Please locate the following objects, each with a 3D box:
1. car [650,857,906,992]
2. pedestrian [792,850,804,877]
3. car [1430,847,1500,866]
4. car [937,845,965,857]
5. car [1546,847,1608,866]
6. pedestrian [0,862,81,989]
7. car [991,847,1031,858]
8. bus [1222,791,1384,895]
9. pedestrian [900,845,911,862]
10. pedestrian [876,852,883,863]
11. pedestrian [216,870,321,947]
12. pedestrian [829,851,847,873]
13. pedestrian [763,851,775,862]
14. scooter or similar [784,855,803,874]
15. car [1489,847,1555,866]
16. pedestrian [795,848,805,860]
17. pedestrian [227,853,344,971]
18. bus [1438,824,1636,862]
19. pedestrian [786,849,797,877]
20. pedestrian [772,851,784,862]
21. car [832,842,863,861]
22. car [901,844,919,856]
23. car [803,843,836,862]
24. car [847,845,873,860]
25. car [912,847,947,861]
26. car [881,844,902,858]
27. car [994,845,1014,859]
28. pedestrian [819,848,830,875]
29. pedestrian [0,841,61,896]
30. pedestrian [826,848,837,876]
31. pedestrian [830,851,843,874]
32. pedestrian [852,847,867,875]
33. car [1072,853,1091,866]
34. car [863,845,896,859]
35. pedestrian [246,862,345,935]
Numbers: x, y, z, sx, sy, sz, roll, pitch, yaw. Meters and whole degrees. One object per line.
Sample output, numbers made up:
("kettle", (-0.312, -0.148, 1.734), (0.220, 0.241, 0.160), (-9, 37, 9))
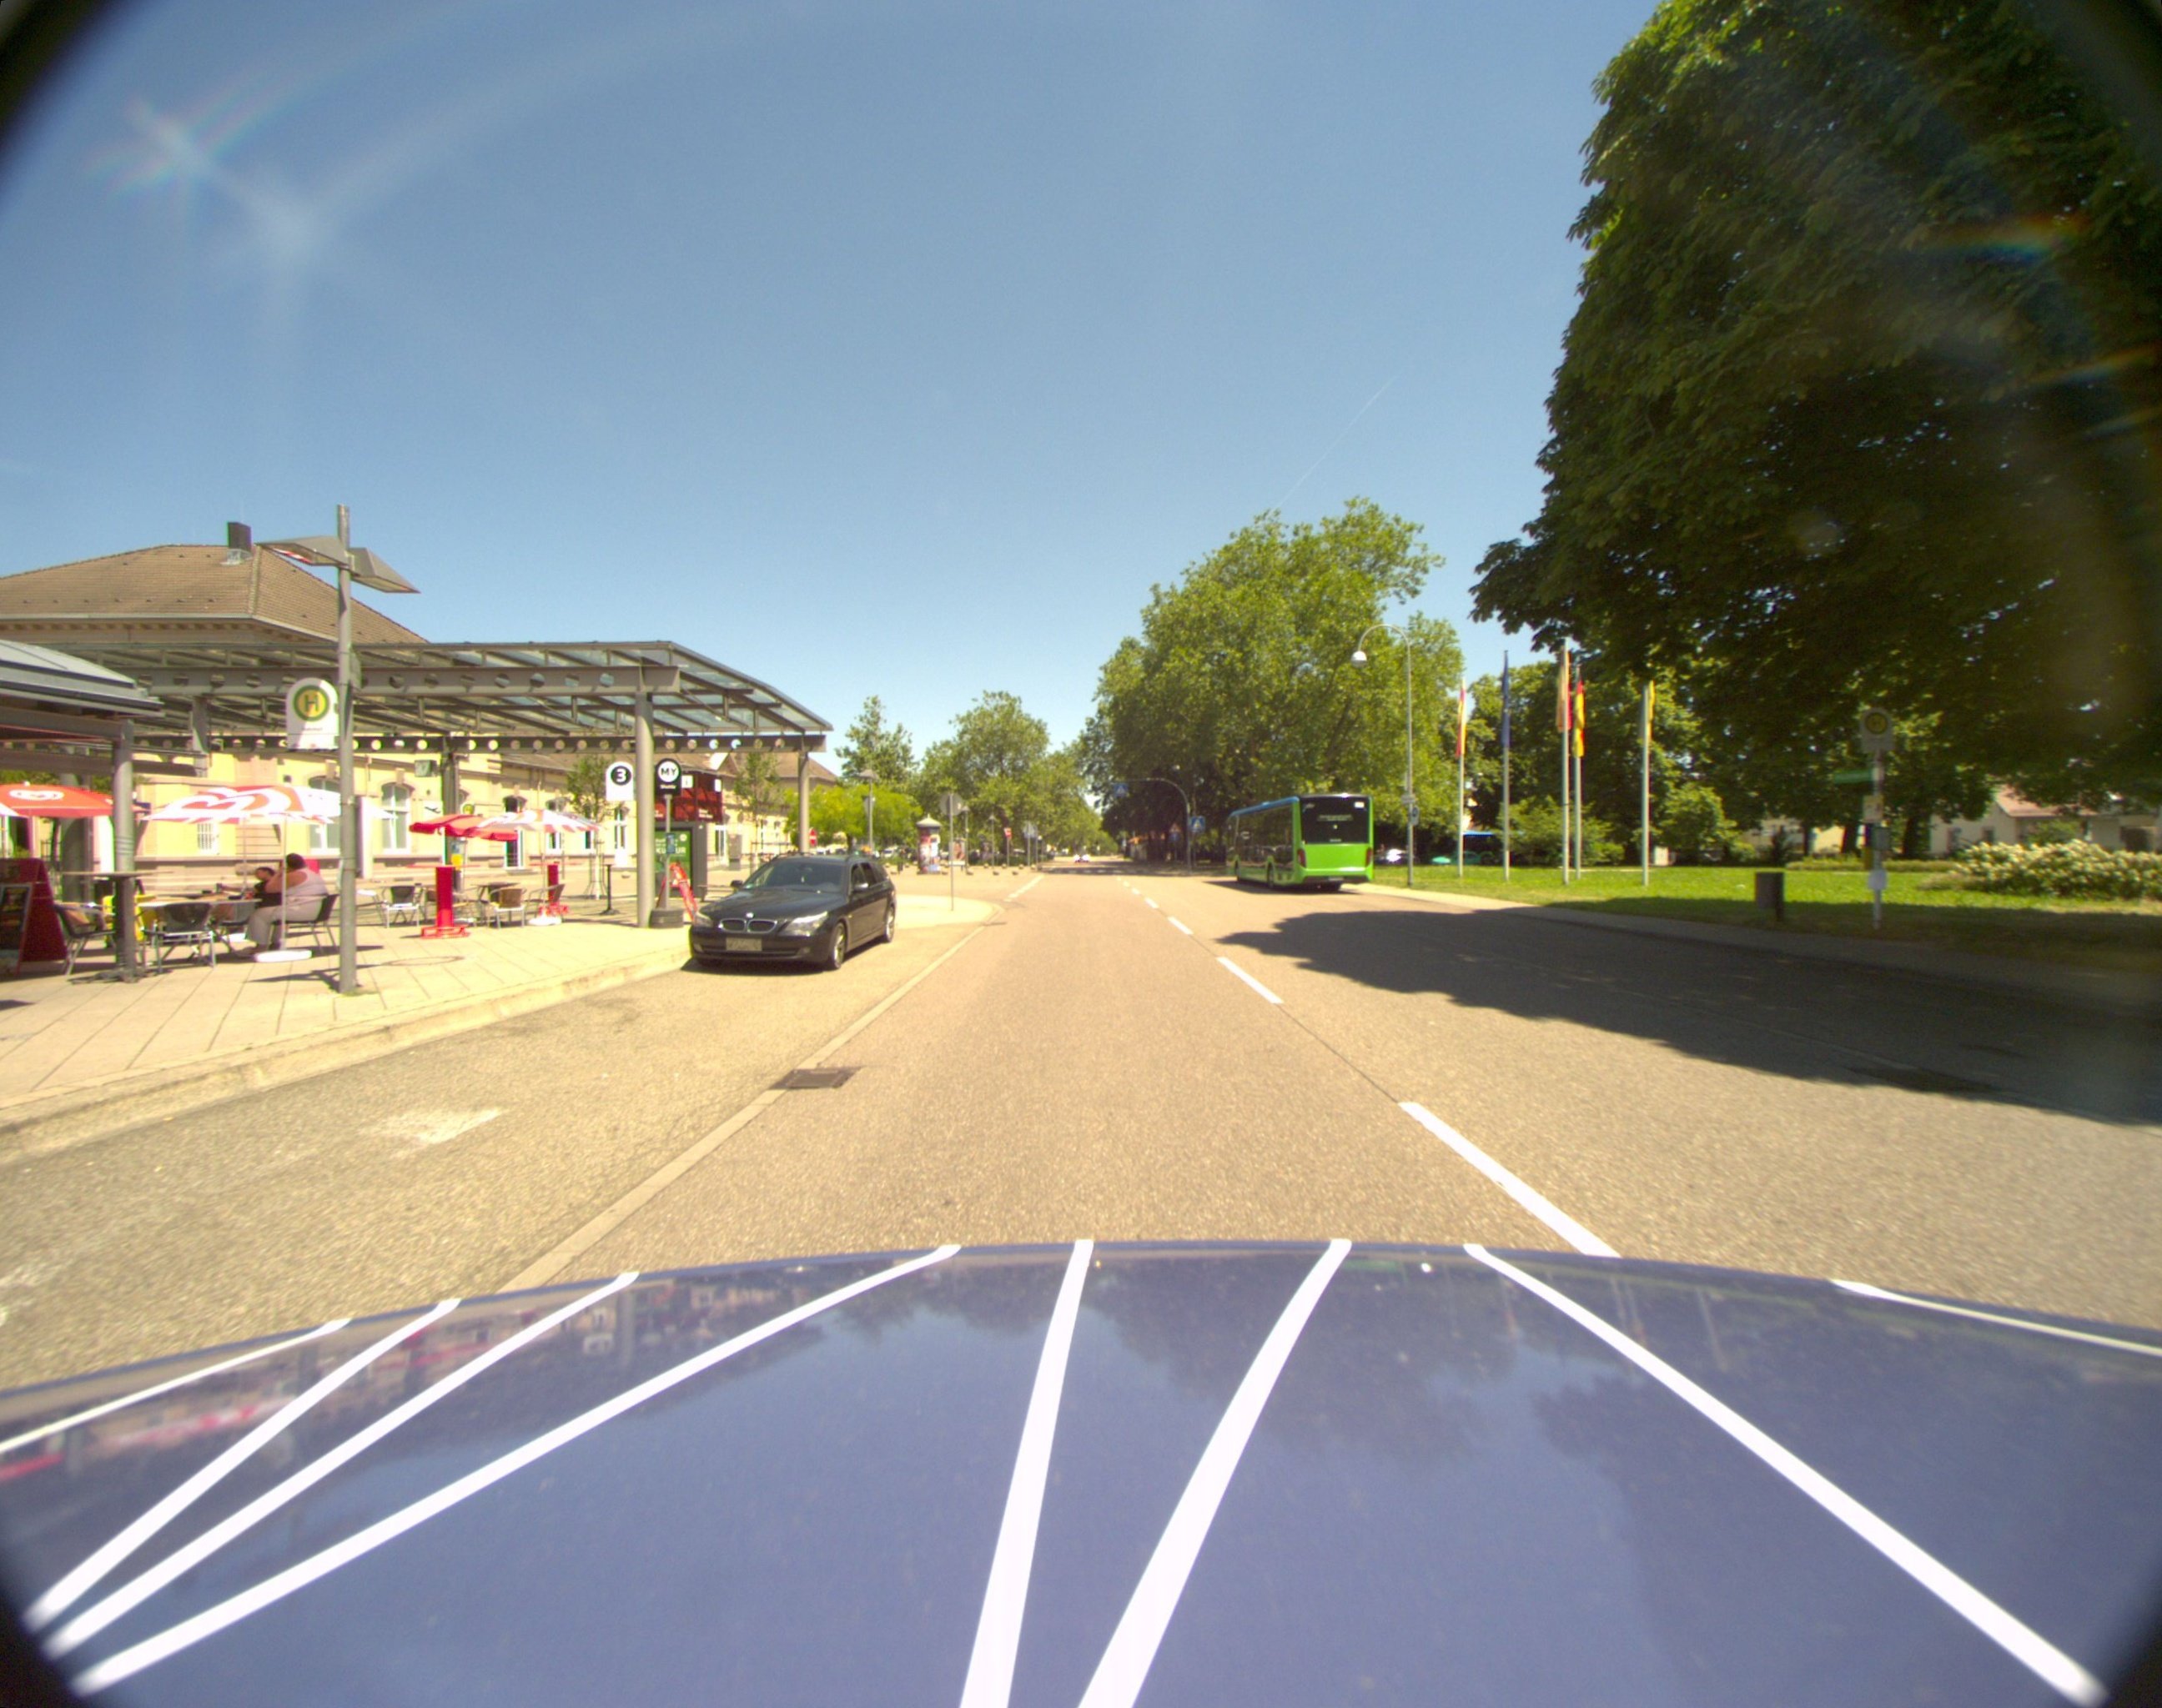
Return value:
("car", (-4.128, 0.845, 11.349), (1.932, 1.452, 4.724), (2, 1, -1))
("pedestrian", (-17.620, 0.609, 47.333), (0.619, 1.675, 0.590), (-1, 1, -12))
("car", (31.055, 0.197, 61.565), (4.766, 1.431, 1.756), (0, 1, 0))
("car", (-18.169, -0.419, 106.443), (4.051, 1.596, 1.804), (2, 4, 45))
("car", (40.198, 0.203, 61.646), (3.915, 1.484, 1.759), (0, 1, 0))
("pedestrian", (-11.531, 0.746, 8.075), (0.896, 1.305, 0.686), (-1, 1, -34))
("car", (-8.880, -0.220, 96.382), (4.782, 1.409, 1.783), (-1, 1, -19))
("bus", (8.156, -0.393, 30.159), (2.816, 3.264, 12.423), (-1, 1, 0))
("pedestrian", (-18.305, -0.074, 79.194), (0.812, 1.707, 0.775), (1, 2, 43))
("pedestrian", (-25.944, 0.453, 97.654), (0.801, 1.416, 0.690), (-1, 1, -10))
("pedestrian", (-13.021, 0.856, 12.207), (0.688, 1.154, 0.895), (0, 1, 5))
("pedestrian", (-15.266, 0.487, 47.732), (0.914, 1.378, 0.942), (-1, 1, -29))
("pedestrian", (-31.794, 0.278, 77.419), (0.881, 1.073, 0.851), (1, 1, -4))
("scooter or similar", (-17.330, 0.609, 45.767), (1.028, 1.133, 0.294), (-1, 2, -7))
("car", (35.742, 0.175, 61.647), (4.372, 1.484, 1.759), (0, 1, 0))
("pedestrian", (-32.016, 0.042, 86.561), (0.881, 1.363, 0.851), (1, 1, -4))
("pedestrian", (-10.069, 0.699, 9.661), (0.896, 1.410, 0.686), (-1, 1, -37))
("bus", (40.537, -0.989, 67.852), (15.939, 3.276, 2.877), (0, 1, 0))
("pedestrian", (-17.763, 0.546, 46.602), (0.555, 1.675, 0.586), (-1, 1, -12))
("pedestrian", (-30.854, 0.250, 77.474), (0.881, 1.155, 0.851), (1, 1, -4))
("car", (-26.465, -0.280, 86.254), (2.093, 2.112, 5.823), (-1, 0, -5))
("car", (-28.822, -0.708, 128.236), (1.998, 1.779, 4.246), (-3, 2, 1))
("car", (-26.921, -0.102, 78.355), (1.814, 1.855, 5.138), (-1, 0, -2))
("car", (-27.069, -0.161, 93.270), (2.080, 1.829, 4.838), (-1, 0, -5))
("car", (-17.944, -0.028, 89.797), (4.516, 1.534, 1.804), (2, 4, 44))
("car", (-26.780, -0.391, 107.384), (2.004, 1.830, 5.315), (-2, 1, -5))
("car", (-8.989, -0.220, 88.670), (1.600, 1.584, 3.108), (0, 1, 7))
("pedestrian", (-16.143, 0.471, 47.774), (0.513, 1.730, 0.569), (-1, 1, -29))
("pedestrian", (-36.329, 0.481, 26.079), (1.083, 1.836, 1.082), (-1, 1, -2))
("pedestrian", (-15.960, 0.510, 48.572), (0.586, 1.730, 0.598), (-1, 1, -26))
("pedestrian", (-14.979, 0.508, 46.542), (0.600, 1.356, 0.598), (-1, 1, -28))
("pedestrian", (-14.204, 0.453, 48.712), (0.695, 1.754, 0.583), (-1, 2, -37))
("car", (0.063, 0.645, 92.372), (1.662, 1.368, 3.448), (-3, 1, -10))
("car", (-34.372, -0.367, 129.869), (4.962, 2.108, 2.051), (-2, 1, -1))
("pedestrian", (-14.383, 0.801, 13.941), (0.847, 1.270, 0.895), (0, 1, 5))
